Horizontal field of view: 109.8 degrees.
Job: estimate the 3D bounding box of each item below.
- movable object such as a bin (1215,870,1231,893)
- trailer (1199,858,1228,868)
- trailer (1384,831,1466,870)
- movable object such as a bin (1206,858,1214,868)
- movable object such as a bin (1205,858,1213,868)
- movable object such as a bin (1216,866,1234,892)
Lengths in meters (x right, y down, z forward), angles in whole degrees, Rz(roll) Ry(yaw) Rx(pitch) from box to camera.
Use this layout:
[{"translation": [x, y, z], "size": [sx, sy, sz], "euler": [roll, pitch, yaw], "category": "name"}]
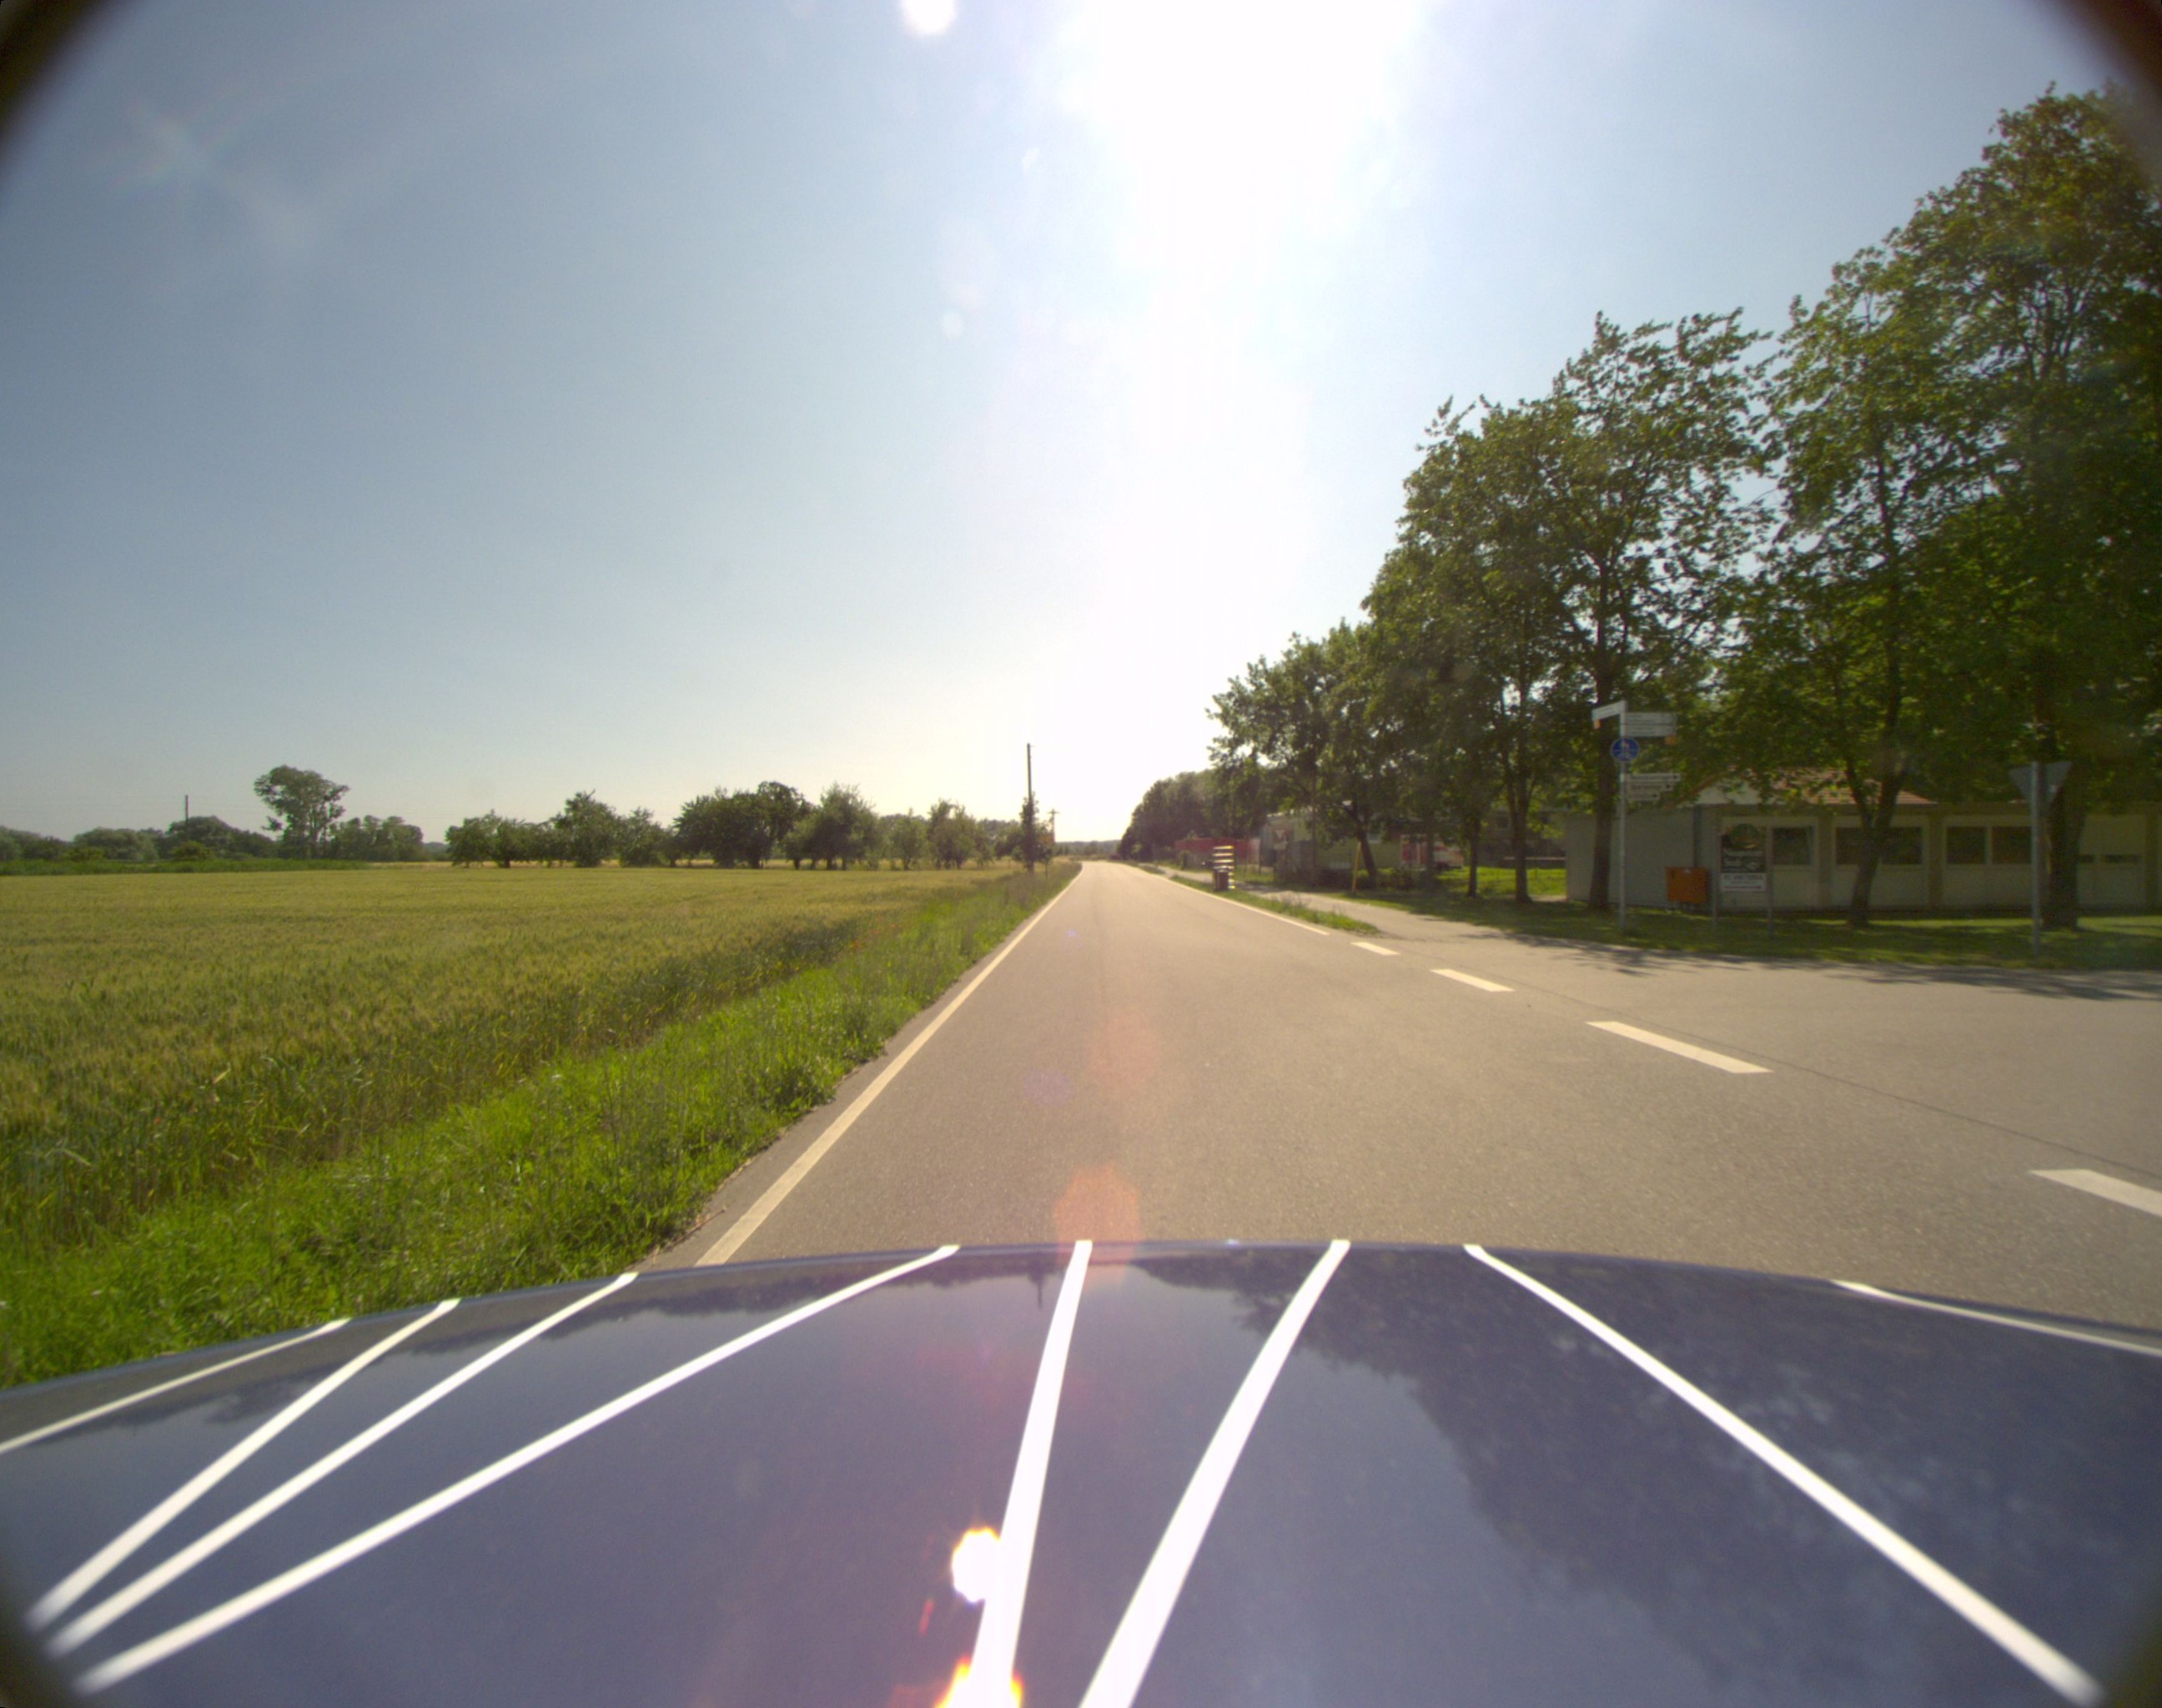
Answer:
[{"translation": [5.517, 1.060, 29.530], "size": [0.563, 0.872, 0.614], "euler": [0, 1, 9], "category": "movable object such as a bin"}, {"translation": [11.471, 0.755, 65.988], "size": [1.635, 0.861, 3.356], "euler": [0, 0, -5], "category": "trailer"}, {"translation": [20.734, -0.222, 45.815], "size": [4.239, 2.264, 1.826], "euler": [0, 0, -12], "category": "trailer"}, {"translation": [10.591, 0.758, 62.518], "size": [0.640, 0.849, 0.654], "euler": [0, 0, 7], "category": "movable object such as a bin"}, {"translation": [10.661, 0.742, 63.196], "size": [0.640, 0.871, 0.654], "euler": [0, 0, 7], "category": "movable object such as a bin"}, {"translation": [5.743, 0.978, 30.319], "size": [0.700, 1.018, 0.748], "euler": [0, 1, 9], "category": "movable object such as a bin"}]
